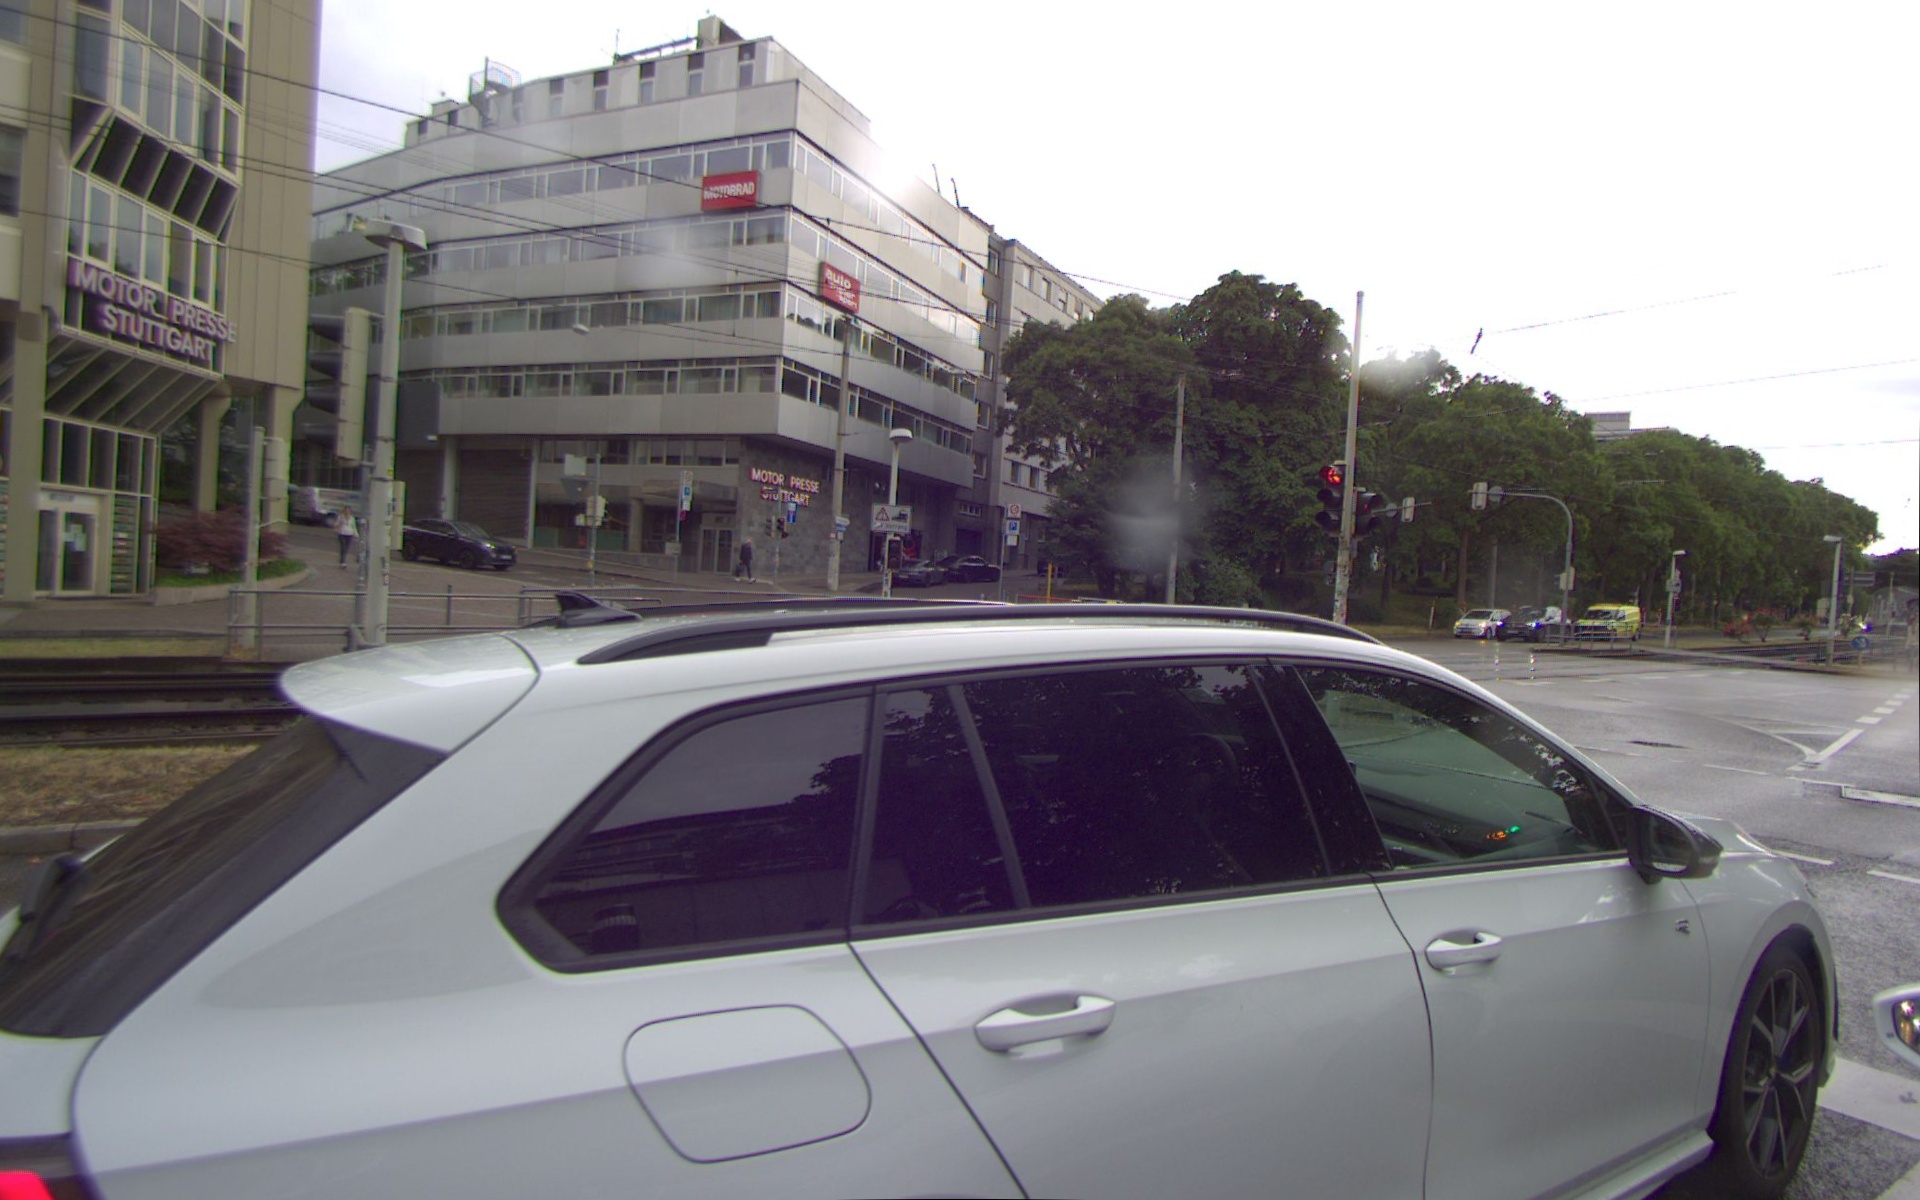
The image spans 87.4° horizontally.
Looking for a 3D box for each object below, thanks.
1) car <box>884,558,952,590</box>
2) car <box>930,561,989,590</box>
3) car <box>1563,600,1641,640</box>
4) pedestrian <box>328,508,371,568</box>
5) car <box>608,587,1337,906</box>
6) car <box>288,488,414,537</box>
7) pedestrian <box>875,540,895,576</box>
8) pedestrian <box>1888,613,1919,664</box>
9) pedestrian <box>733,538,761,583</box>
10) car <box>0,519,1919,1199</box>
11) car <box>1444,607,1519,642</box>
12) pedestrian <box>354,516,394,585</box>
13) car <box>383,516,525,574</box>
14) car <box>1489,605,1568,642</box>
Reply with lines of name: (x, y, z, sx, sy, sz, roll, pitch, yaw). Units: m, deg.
car: (-2.054, -1.284, 50.621, 1.842, 1.450, 4.091, 3, 2, 22)
car: (0.035, -1.342, 55.595, 1.842, 1.450, 3.998, 3, 2, 22)
car: (33.108, 1.035, 51.736, 4.525, 1.875, 1.905, 2, 1, -38)
pedestrian: (-17.854, -1.800, 29.365, 0.746, 1.661, 0.719, 5, 2, 25)
car: (0.206, 0.725, 6.496, 4.423, 1.461, 1.787, 2, 0, -30)
car: (-32.026, -4.539, 53.002, 1.964, 2.040, 5.403, 2, 0, 30)
pedestrian: (-4.048, -2.273, 54.061, 0.707, 1.886, 0.758, 5, 4, 31)
pedestrian: (35.288, 1.418, 37.467, 0.860, 1.826, 0.862, 5, 3, 45)
pedestrian: (-9.233, -1.702, 43.591, 0.833, 1.886, 0.719, 5, 2, 25)
car: (0.411, 0.711, 2.543, 4.423, 1.461, 1.787, 2, 0, -30)
car: (26.067, 1.230, 50.199, 3.648, 1.566, 1.905, 2, 1, -37)
pedestrian: (-16.080, -1.351, 27.577, 0.823, 1.811, 0.752, 2, 2, -36)
car: (-18.813, -2.042, 37.331, 4.794, 1.601, 1.999, 7, 3, 23)
car: (26.340, 1.101, 46.513, 3.648, 1.566, 1.905, 2, 1, -37)
